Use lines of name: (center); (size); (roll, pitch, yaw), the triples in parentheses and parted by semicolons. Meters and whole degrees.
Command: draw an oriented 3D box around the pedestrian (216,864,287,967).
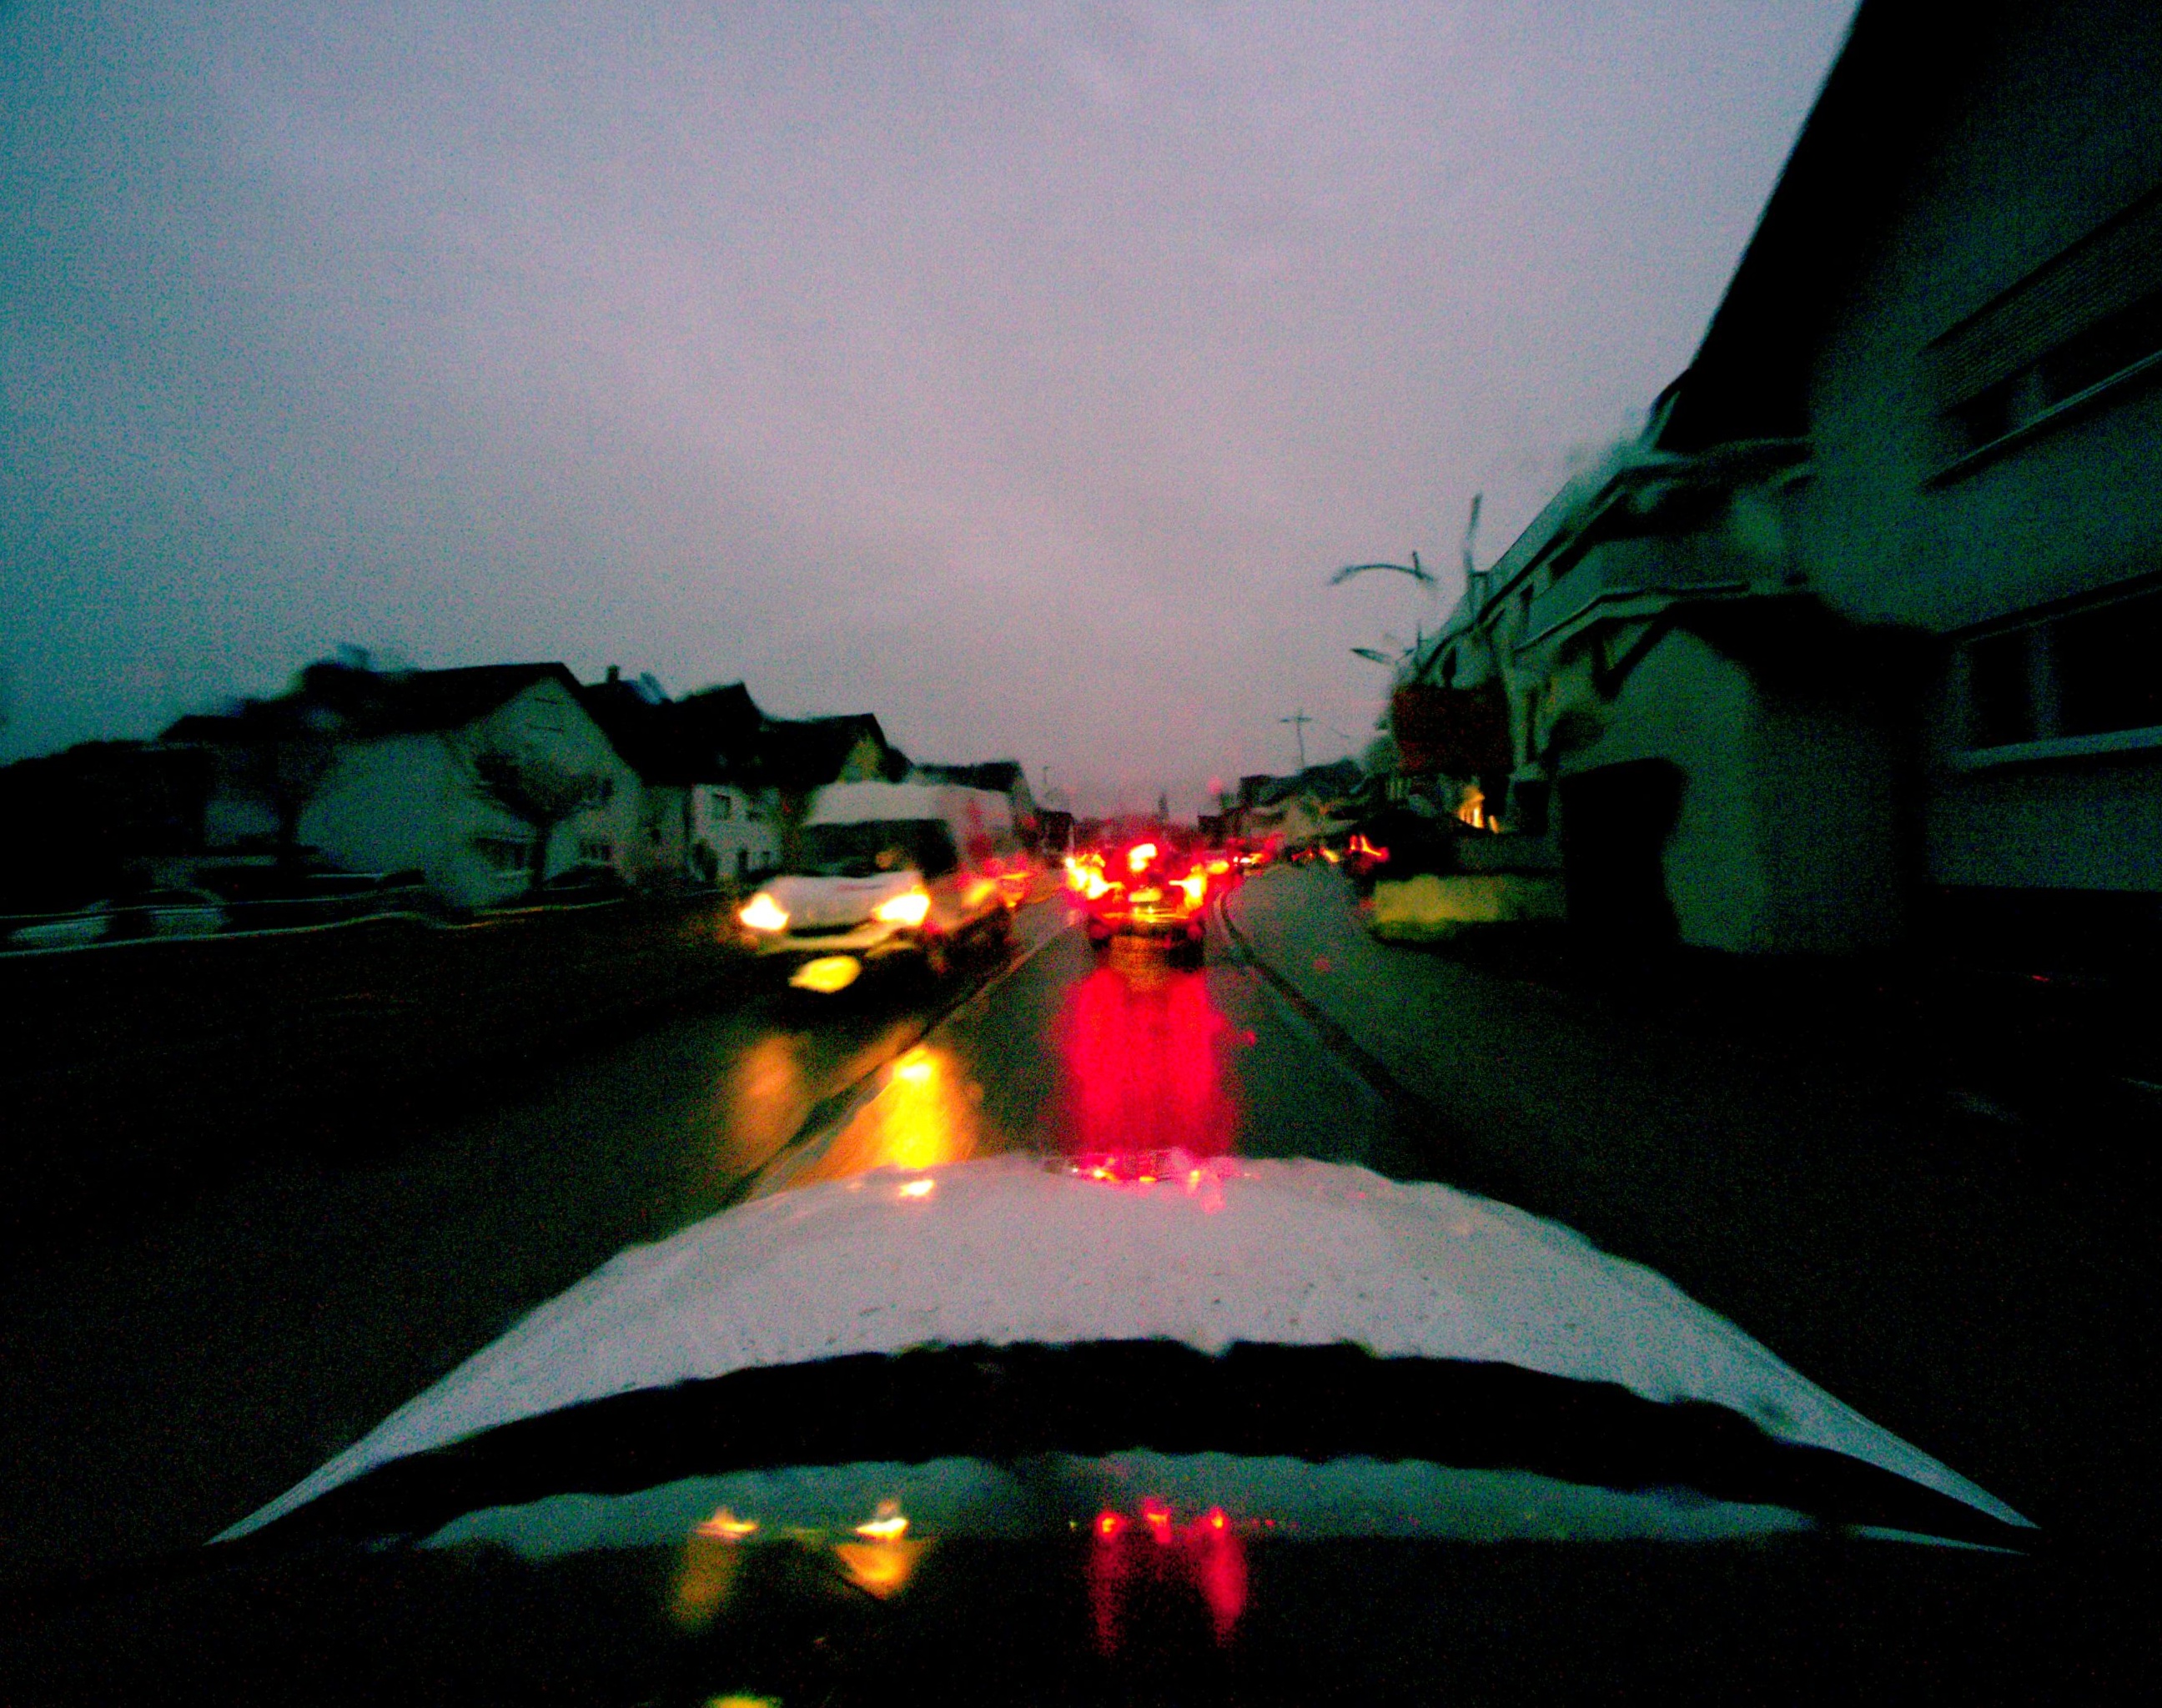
pedestrian: (-13.964, 1.019, 13.718); (0.660, 1.697, 0.542); (-1, 0, 6)

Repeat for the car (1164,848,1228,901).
car: (3.767, 0.600, 26.177); (1.671, 1.453, 4.013); (-4, 0, 12)

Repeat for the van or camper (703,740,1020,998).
van or camper: (-2.595, 0.157, 11.911); (2.229, 2.669, 6.565); (-2, 0, 5)

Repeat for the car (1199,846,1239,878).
car: (6.614, 0.343, 39.222); (1.804, 1.412, 4.010); (0, 1, 9)

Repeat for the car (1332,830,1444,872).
car: (13.399, -0.124, 35.761); (4.185, 1.460, 1.796); (-4, -1, 5)

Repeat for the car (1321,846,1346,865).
car: (22.257, 0.137, 71.682); (1.551, 1.413, 3.622); (-6, -1, 24)

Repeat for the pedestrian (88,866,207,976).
pedestrian: (-15.915, 1.117, 13.909); (0.923, 1.784, 0.975); (-1, 0, 7)

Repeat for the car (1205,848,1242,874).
car: (8.362, 0.369, 47.605); (1.981, 1.391, 4.012); (-2, 0, 11)

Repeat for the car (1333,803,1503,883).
car: (10.640, -0.328, 26.082); (4.535, 1.920, 1.955); (-7, -2, 9)

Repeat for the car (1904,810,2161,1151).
car: (5.481, 0.478, 2.455); (1.764, 1.393, 3.903); (-3, 0, -8)

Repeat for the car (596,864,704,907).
car: (-18.287, 1.298, 34.808); (1.900, 1.562, 4.227); (-2, 0, 8)

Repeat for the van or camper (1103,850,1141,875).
van or camper: (2.397, 0.475, 46.957); (1.551, 1.355, 3.433); (-2, 0, 12)

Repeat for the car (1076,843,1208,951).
car: (1.118, 0.614, 14.251); (1.955, 1.594, 4.320); (0, 1, 6)

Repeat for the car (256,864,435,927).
car: (-23.223, 1.292, 25.824); (3.971, 1.694, 1.866); (-3, 0, 2)

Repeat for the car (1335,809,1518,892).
car: (9.445, -0.097, 22.548); (4.159, 1.639, 1.805); (-8, 0, 3)

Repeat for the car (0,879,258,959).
car: (-20.264, 1.315, 17.486); (1.475, 1.427, 3.464); (-1, -1, 5)

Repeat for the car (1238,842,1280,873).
car: (12.757, 0.221, 58.173); (2.139, 1.991, 4.522); (-5, -1, 20)
